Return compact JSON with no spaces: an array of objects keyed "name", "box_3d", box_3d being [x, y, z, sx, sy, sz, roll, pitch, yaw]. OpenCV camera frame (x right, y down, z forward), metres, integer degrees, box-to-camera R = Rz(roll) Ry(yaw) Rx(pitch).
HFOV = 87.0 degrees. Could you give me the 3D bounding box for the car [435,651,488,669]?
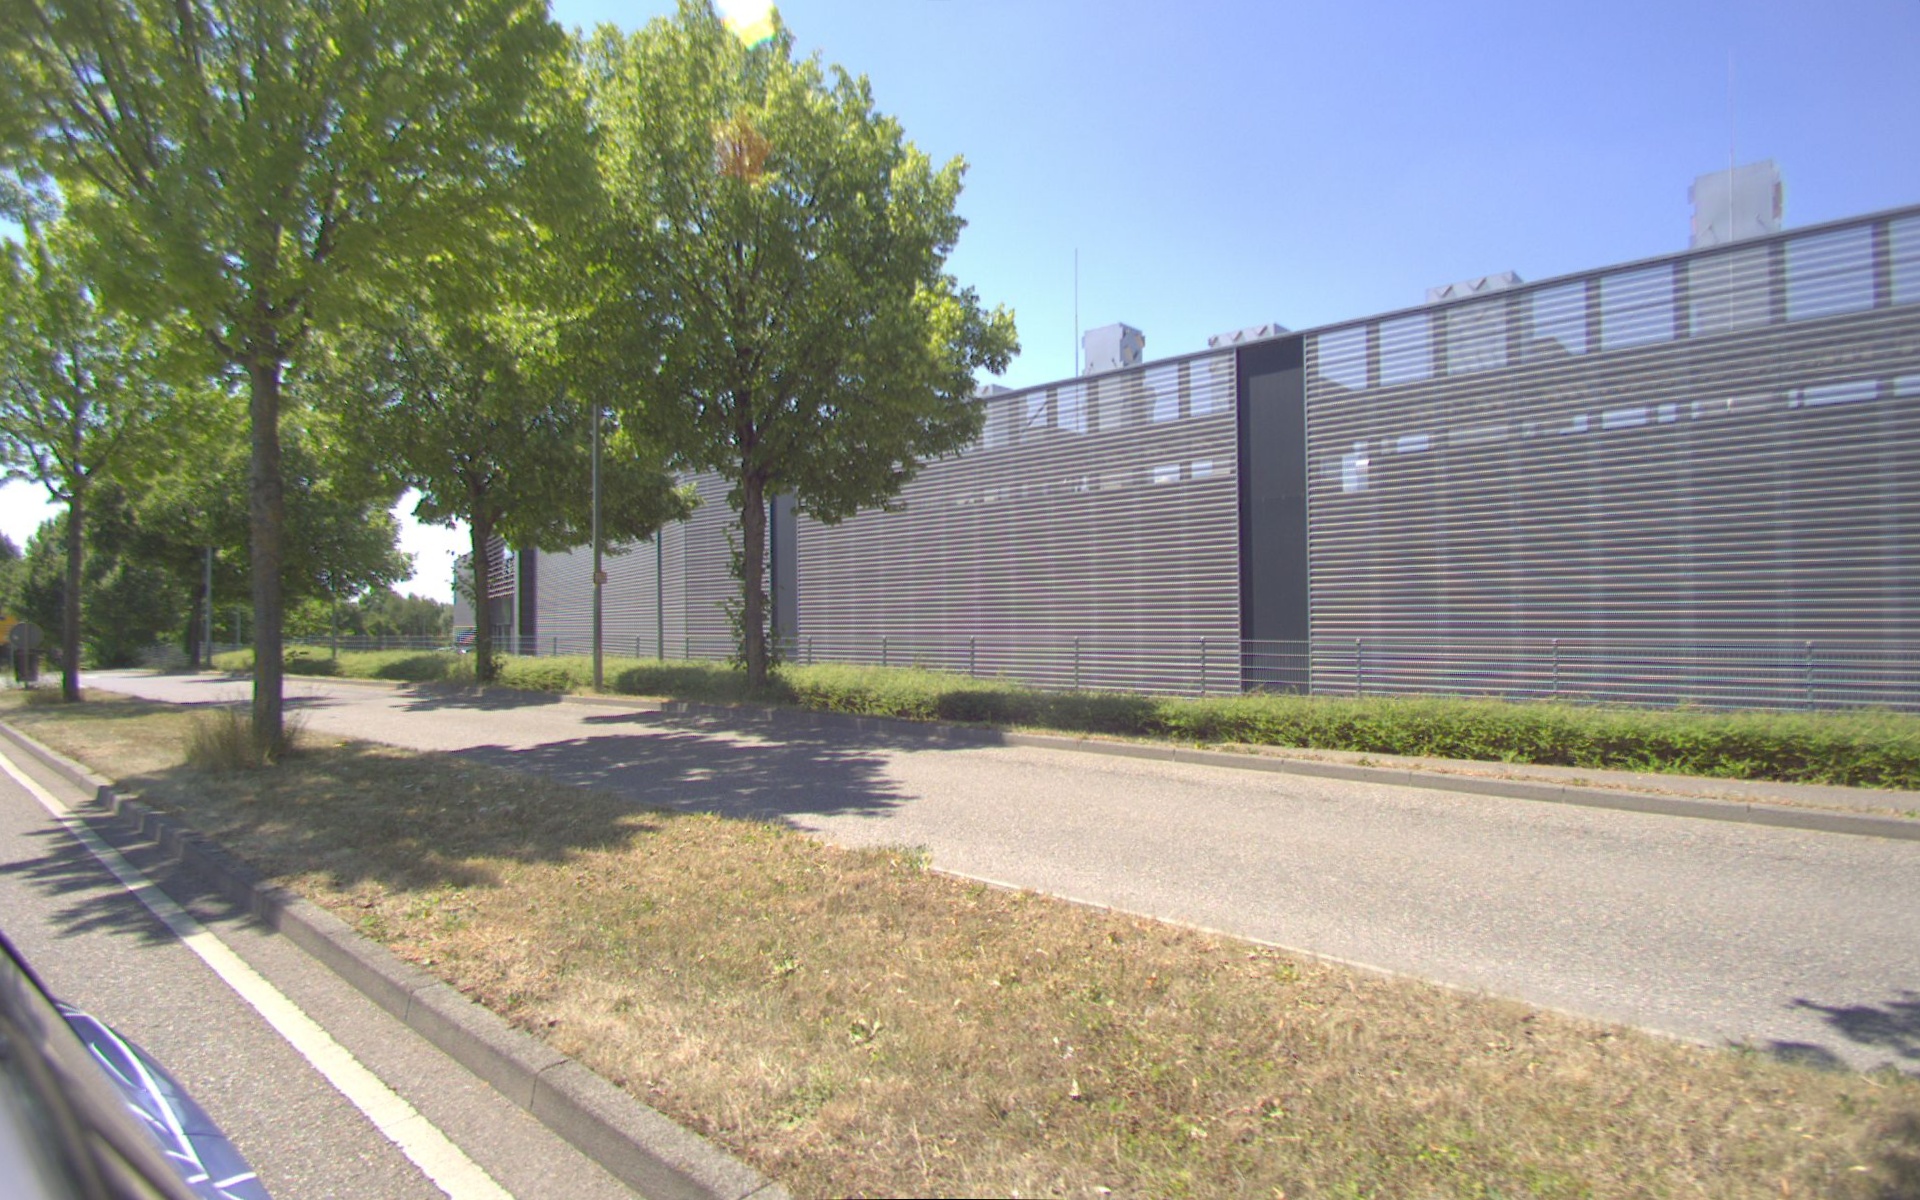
[{"name":"car","box_3d":[-44.158,5.301,89.598,3.934,1.497,2.004,2,-6,-36]}]
